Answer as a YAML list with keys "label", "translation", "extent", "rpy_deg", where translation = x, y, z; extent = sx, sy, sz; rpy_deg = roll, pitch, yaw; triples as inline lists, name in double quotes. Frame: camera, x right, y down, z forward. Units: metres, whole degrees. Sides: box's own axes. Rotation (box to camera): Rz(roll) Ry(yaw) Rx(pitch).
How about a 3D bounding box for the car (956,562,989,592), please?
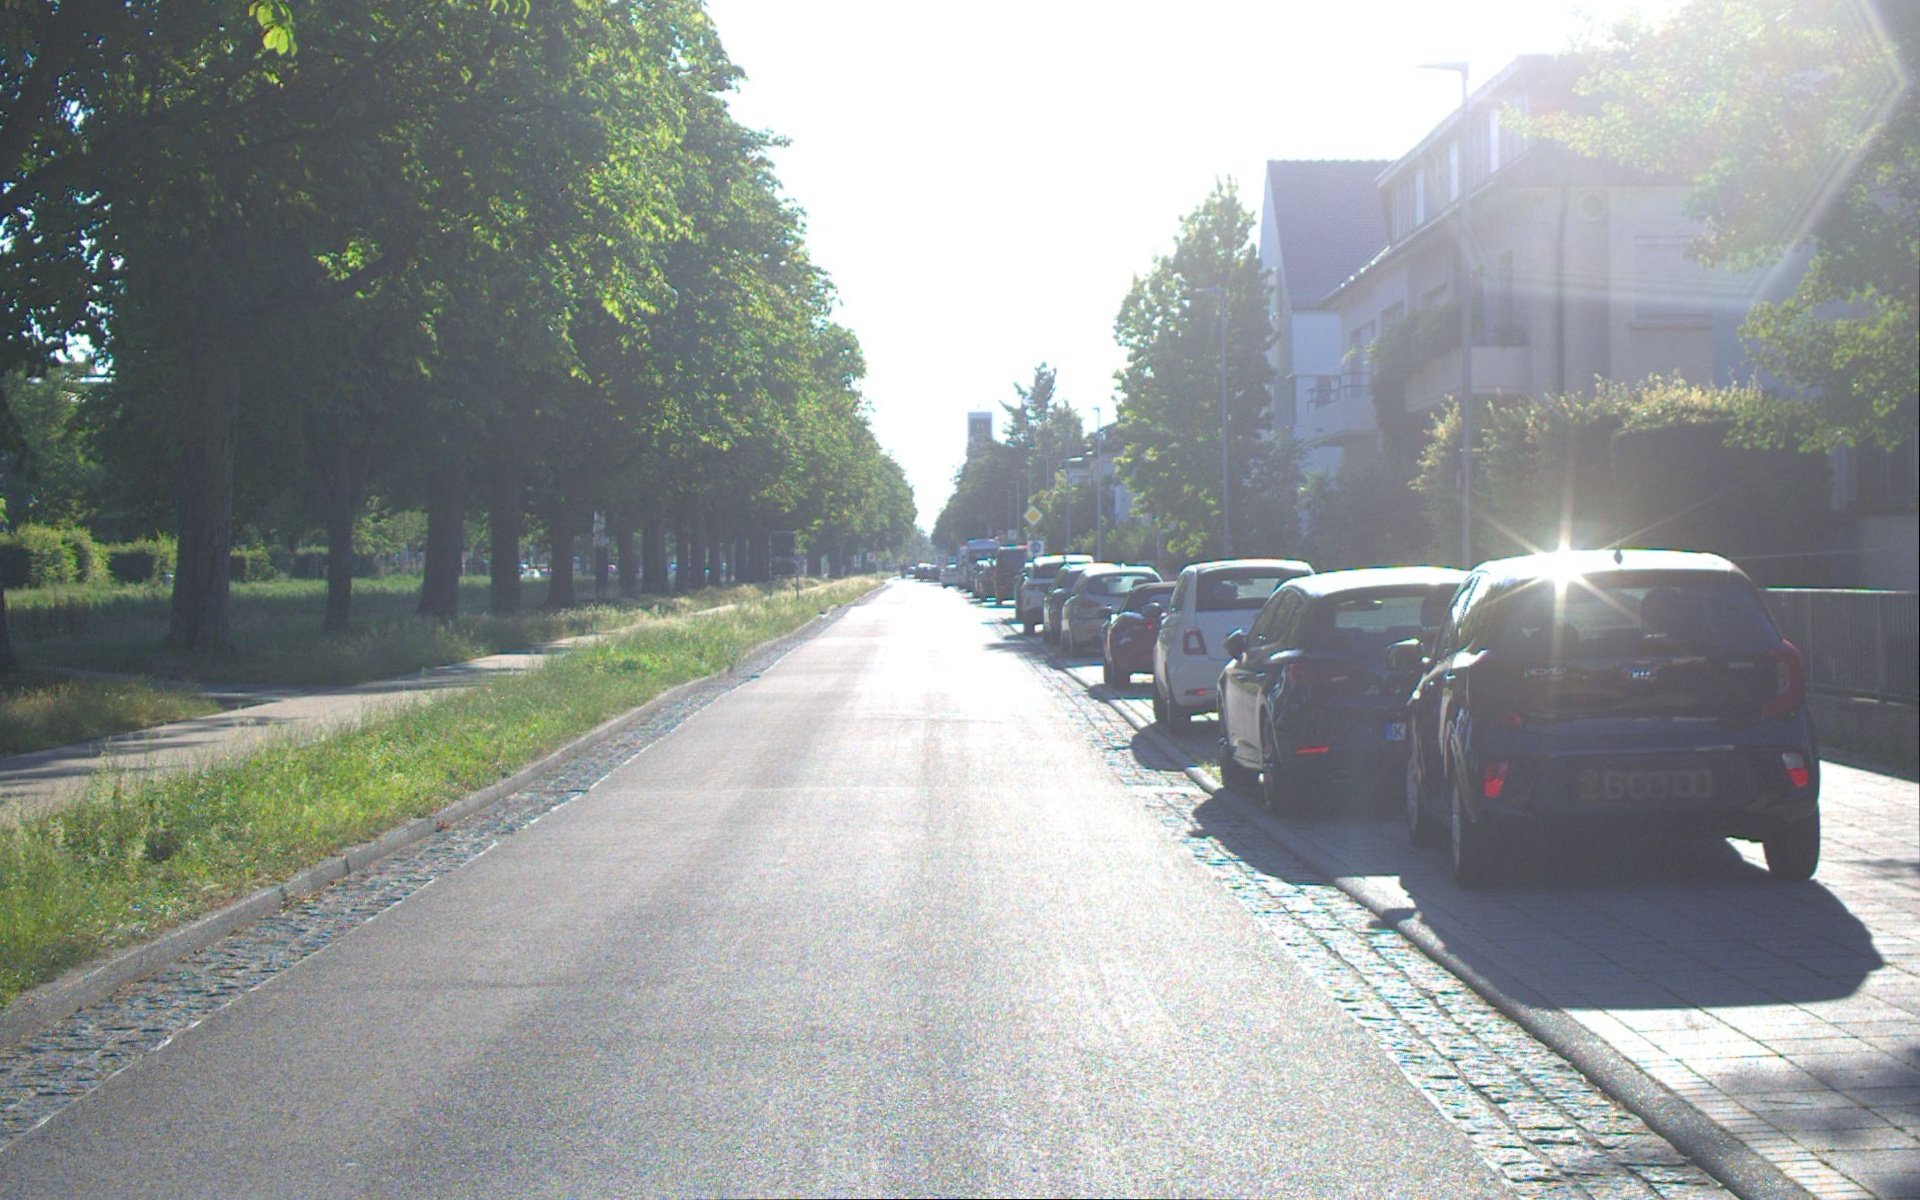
- label: "car"
  translation: [0.644, -1.196, 179.488]
  extent: [1.652, 1.536, 3.266]
  rpy_deg: [1, 0, 1]

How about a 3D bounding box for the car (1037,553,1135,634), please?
- label: "car"
  translation: [2.208, -0.129, 60.779]
  extent: [1.652, 1.392, 3.266]
  rpy_deg: [0, 0, 1]

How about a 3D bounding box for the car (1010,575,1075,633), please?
- label: "car"
  translation: [2.069, 0.080, 86.644]
  extent: [1.594, 1.429, 3.266]
  rpy_deg: [0, 0, 1]

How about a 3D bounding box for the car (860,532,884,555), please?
- label: "car"
  translation: [-6.252, -4.018, 244.987]
  extent: [1.652, 1.536, 3.266]
  rpy_deg: [1, 0, 0]

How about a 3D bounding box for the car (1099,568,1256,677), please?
- label: "car"
  translation: [2.563, 0.246, 41.091]
  extent: [1.693, 1.244, 3.497]
  rpy_deg: [0, 0, 1]

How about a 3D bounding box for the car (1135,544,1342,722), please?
- label: "car"
  translation: [2.466, 0.269, 31.116]
  extent: [1.592, 1.505, 3.591]
  rpy_deg: [0, 0, 0]

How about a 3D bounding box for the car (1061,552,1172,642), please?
- label: "car"
  translation: [2.476, -0.052, 54.937]
  extent: [1.652, 1.392, 3.266]
  rpy_deg: [0, 0, 1]

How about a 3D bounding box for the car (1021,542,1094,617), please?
- label: "car"
  translation: [2.061, -0.439, 73.556]
  extent: [1.498, 1.561, 3.266]
  rpy_deg: [0, 0, 1]

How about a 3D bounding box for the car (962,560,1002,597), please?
- label: "car"
  translation: [0.944, -0.929, 147.811]
  extent: [1.652, 1.536, 3.266]
  rpy_deg: [1, 0, 1]

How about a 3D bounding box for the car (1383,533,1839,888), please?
- label: "car"
  translation: [3.016, 0.472, 16.597]
  extent: [1.658, 1.489, 3.715]
  rpy_deg: [-1, 0, 3]

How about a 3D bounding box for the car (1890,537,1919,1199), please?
- label: "car"
  translation: [2.788, 0.626, 5.444]
  extent: [1.627, 1.499, 3.633]
  rpy_deg: [-2, 1, 0]

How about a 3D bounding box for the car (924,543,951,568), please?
- label: "car"
  translation: [-1.432, -2.836, 218.548]
  extent: [1.652, 1.536, 3.266]
  rpy_deg: [1, 0, 0]

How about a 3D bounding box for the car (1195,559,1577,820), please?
- label: "car"
  translation: [2.569, 0.510, 21.666]
  extent: [1.736, 1.444, 4.197]
  rpy_deg: [-1, 0, -2]

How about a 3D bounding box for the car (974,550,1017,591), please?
- label: "car"
  translation: [1.401, -1.153, 135.218]
  extent: [1.652, 1.536, 3.266]
  rpy_deg: [1, 0, 1]
